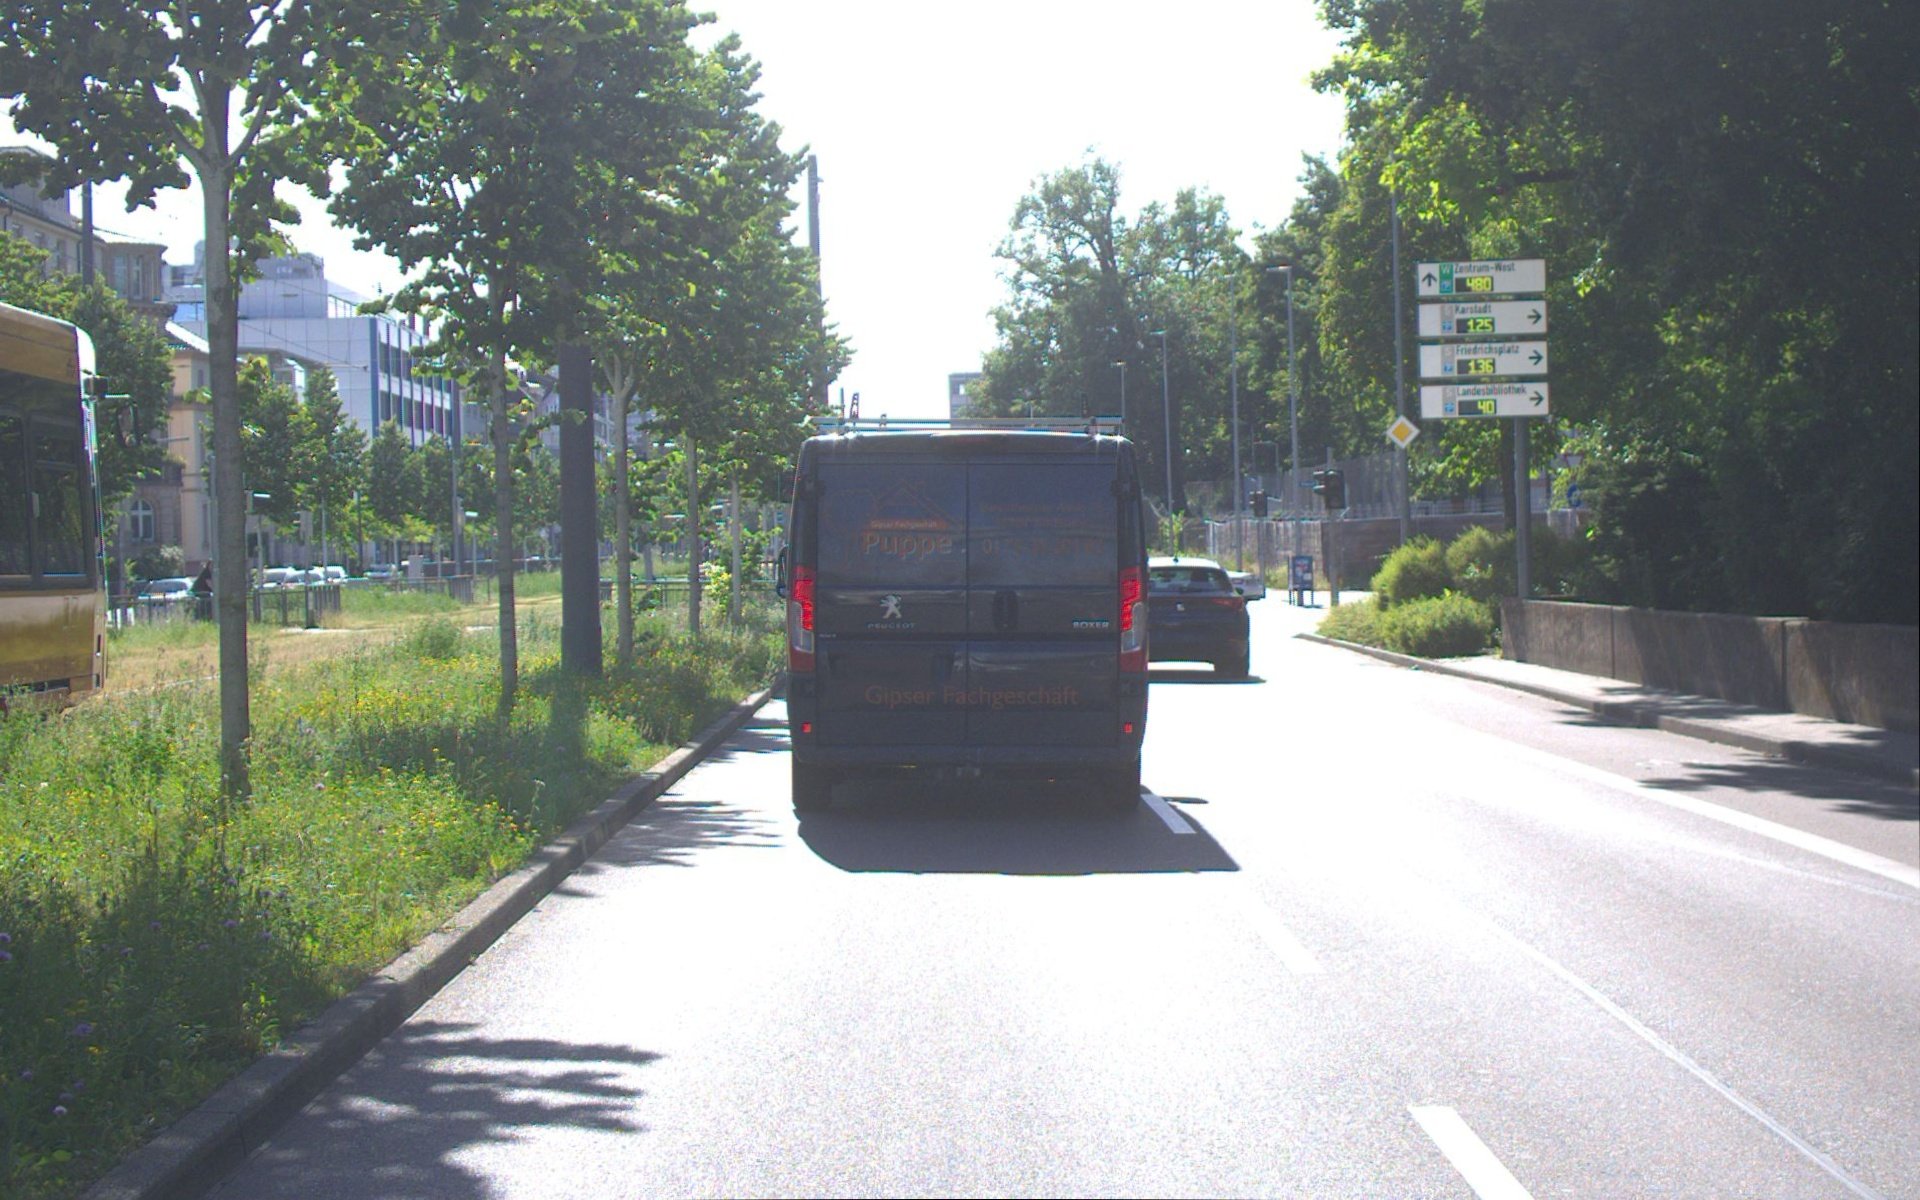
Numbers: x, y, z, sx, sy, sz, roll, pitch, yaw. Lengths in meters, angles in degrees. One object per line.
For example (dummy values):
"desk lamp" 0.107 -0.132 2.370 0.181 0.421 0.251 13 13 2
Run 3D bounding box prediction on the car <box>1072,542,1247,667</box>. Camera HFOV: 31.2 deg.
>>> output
"car" 2.411 0.023 42.409 1.763 1.457 4.001 0 1 -3

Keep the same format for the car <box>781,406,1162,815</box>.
"car" 0.023 0.026 20.826 2.082 2.241 4.000 0 1 -1

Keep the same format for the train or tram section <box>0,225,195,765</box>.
"train or tram section" -7.494 -0.713 23.520 1.993 3.656 11.684 0 1 0
